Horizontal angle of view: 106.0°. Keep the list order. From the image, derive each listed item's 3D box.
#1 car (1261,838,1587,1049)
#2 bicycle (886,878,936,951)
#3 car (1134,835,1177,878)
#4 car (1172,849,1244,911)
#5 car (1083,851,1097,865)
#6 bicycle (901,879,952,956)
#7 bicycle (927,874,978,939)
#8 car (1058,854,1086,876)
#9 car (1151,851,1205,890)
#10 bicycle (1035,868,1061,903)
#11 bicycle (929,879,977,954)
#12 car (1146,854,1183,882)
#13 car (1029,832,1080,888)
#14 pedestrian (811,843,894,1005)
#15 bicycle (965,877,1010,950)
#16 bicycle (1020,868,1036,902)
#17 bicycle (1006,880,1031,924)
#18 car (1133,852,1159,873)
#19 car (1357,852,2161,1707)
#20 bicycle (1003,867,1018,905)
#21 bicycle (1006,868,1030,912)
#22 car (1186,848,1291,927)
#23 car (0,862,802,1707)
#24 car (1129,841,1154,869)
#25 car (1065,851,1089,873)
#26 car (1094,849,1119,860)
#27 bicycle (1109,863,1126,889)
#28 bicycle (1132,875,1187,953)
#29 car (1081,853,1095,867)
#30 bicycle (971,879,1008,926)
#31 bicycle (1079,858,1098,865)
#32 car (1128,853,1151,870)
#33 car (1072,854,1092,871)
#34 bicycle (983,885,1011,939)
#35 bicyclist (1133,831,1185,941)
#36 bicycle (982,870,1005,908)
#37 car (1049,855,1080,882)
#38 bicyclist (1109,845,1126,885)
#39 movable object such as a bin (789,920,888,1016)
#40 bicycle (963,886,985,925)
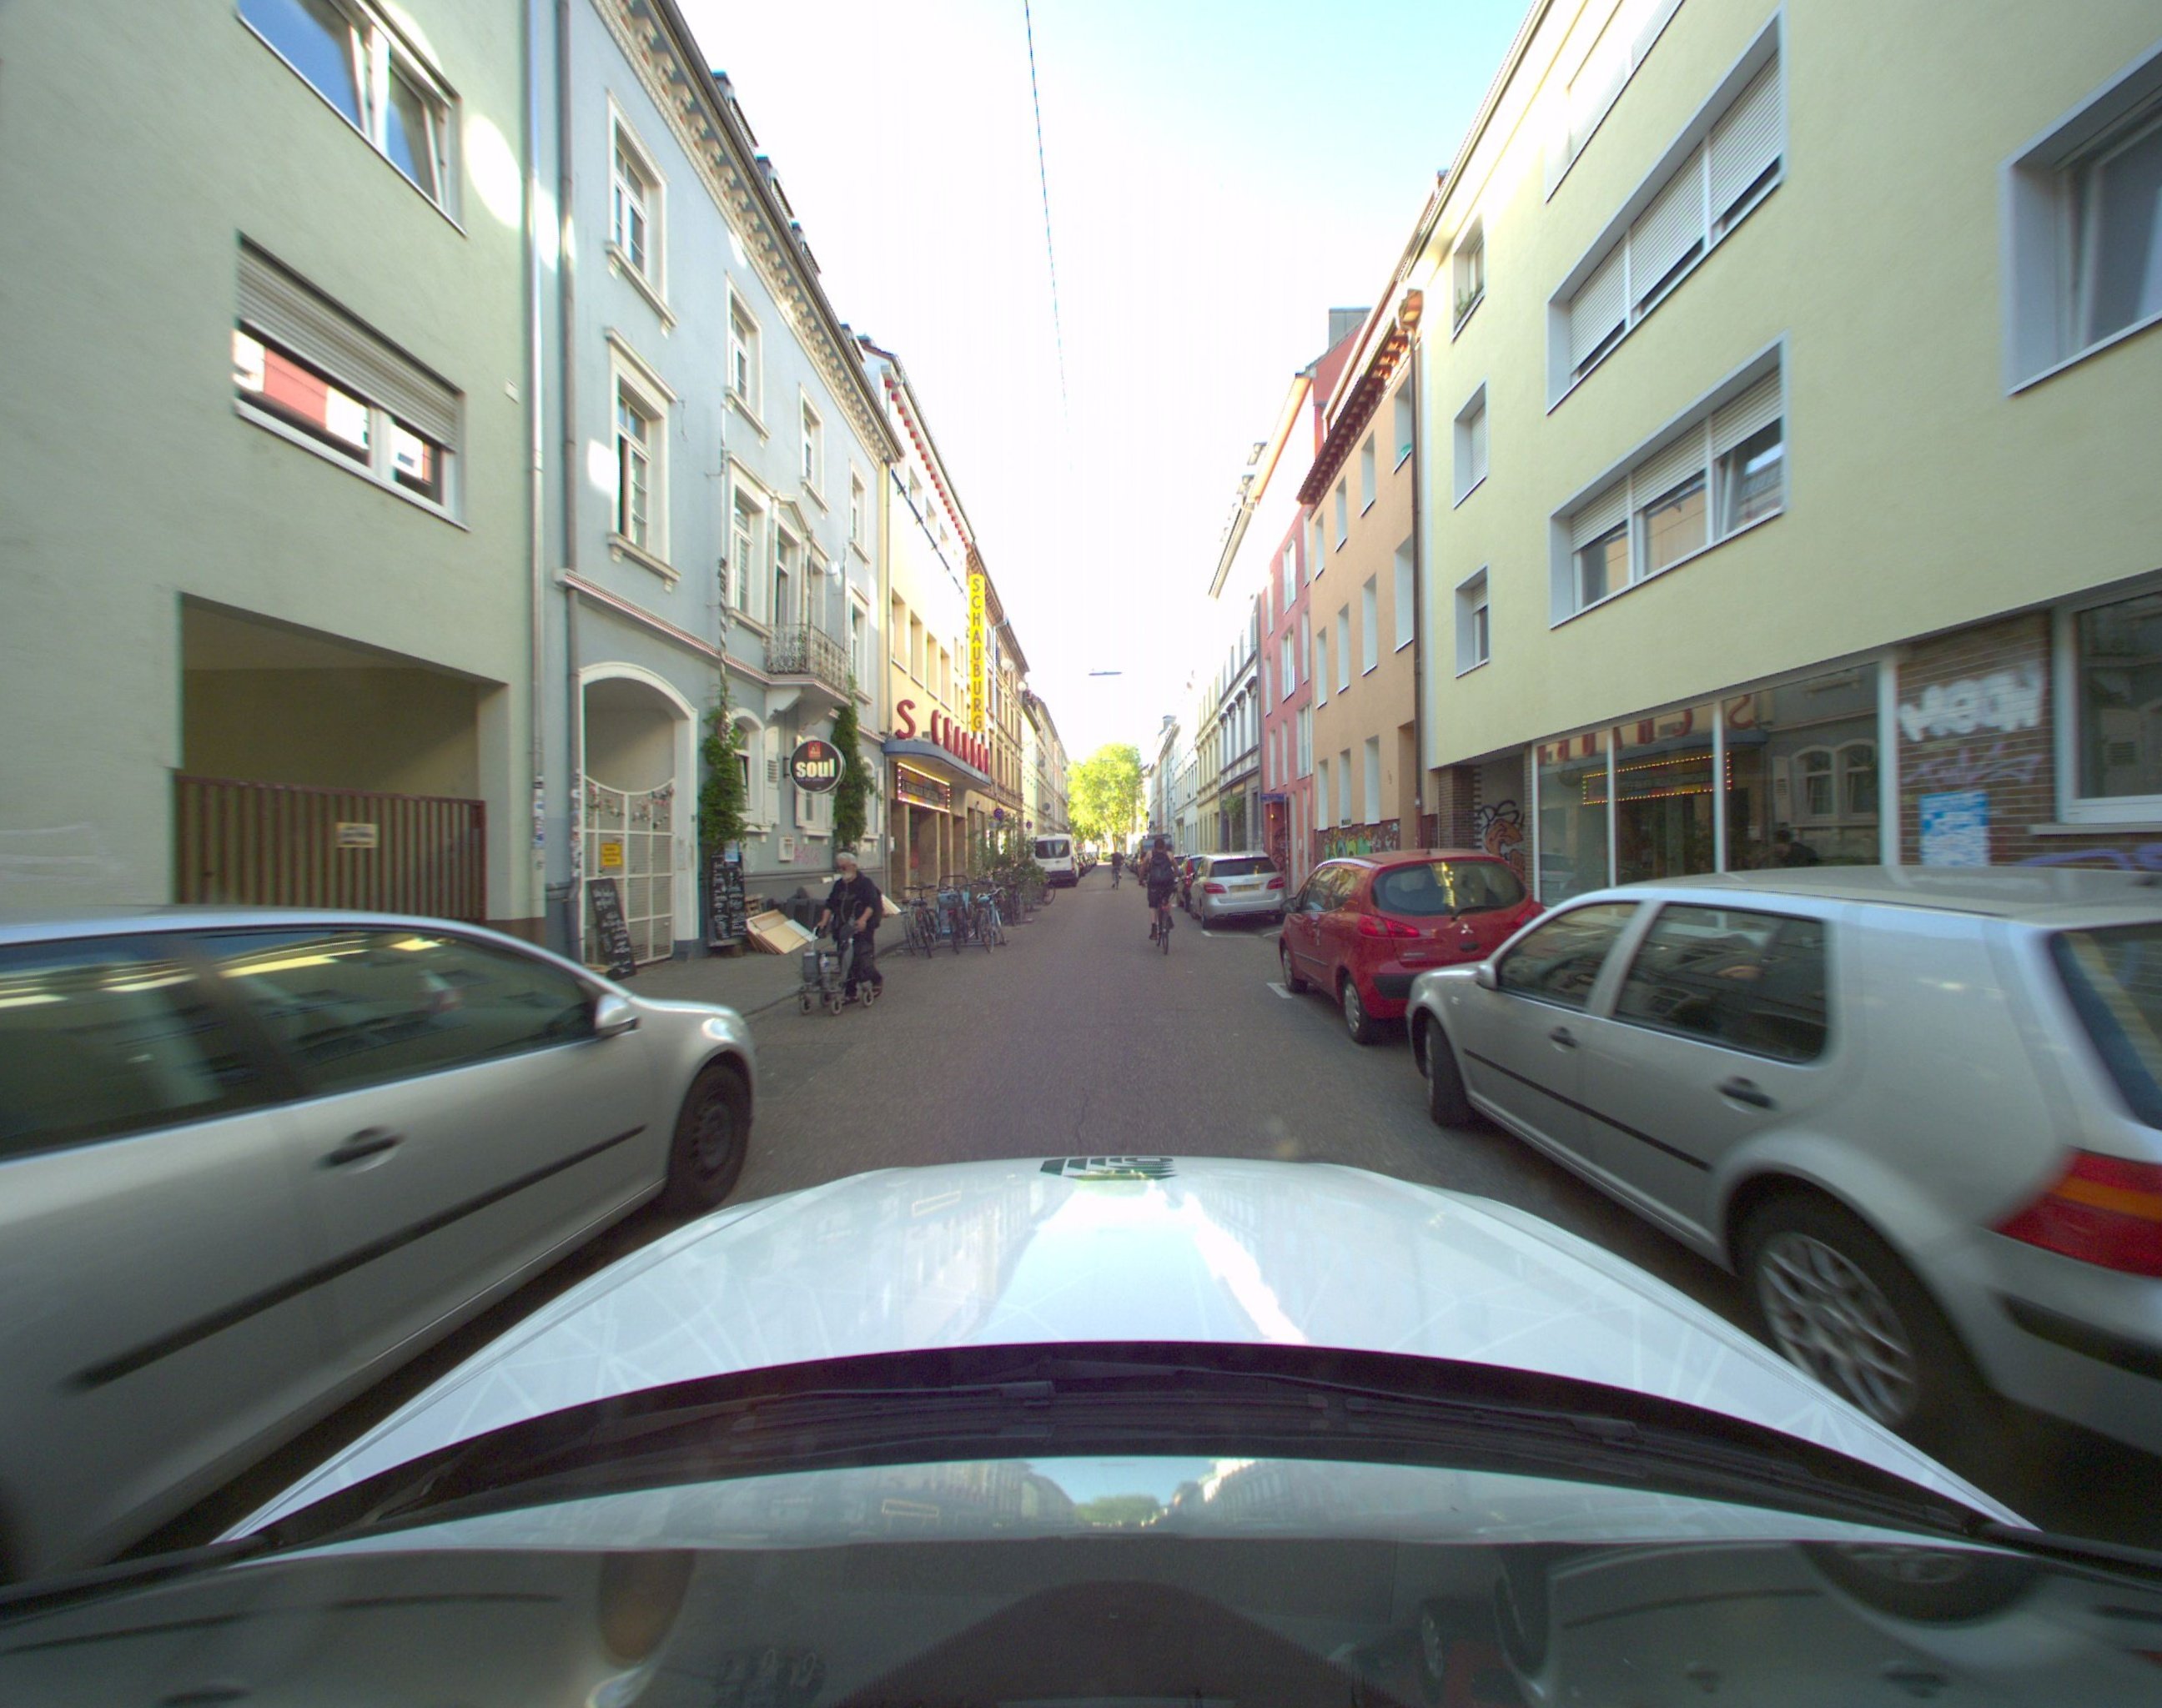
[{"bbox_3d":[3.016,0.671,8.119,1.690,1.523,3.983,-2,0,3],"label":"car"},{"bbox_3d":[-2.873,0.991,13.869,0.441,1.105,1.698,0,0,2],"label":"bicycle"},{"bbox_3d":[4.524,0.134,50.331,2.167,2.425,6.311,-3,0,2],"label":"car"},{"bbox_3d":[3.541,0.694,23.143,1.595,1.539,3.453,-4,0,3],"label":"car"},{"bbox_3d":[1.229,0.515,108.209,1.781,1.737,3.877,-2,0,1],"label":"car"},{"bbox_3d":[-2.497,0.991,13.303,0.442,1.105,1.874,0,0,1],"label":"bicycle"},{"bbox_3d":[-2.427,0.983,15.471,0.810,1.175,0.920,-1,0,-1],"label":"bicycle"},{"bbox_3d":[-0.591,0.741,57.642,1.856,1.440,4.644,-2,1,0],"label":"car"},{"bbox_3d":[4.112,0.683,35.200,1.780,1.454,4.548,-4,0,1],"label":"car"},{"bbox_3d":[-1.060,0.970,25.758,0.461,1.047,1.742,1,0,-14],"label":"bicycle"},{"bbox_3d":[-2.133,1.012,13.735,0.441,1.105,1.932,0,0,2],"label":"bicycle"},{"bbox_3d":[4.482,0.714,44.095,1.741,1.444,4.174,-1,0,2],"label":"car"},{"bbox_3d":[-1.222,0.271,40.302,2.161,2.452,5.922,-2,0,1],"label":"car"},{"bbox_3d":[-2.477,0.736,8.904,0.711,1.708,0.671,0,-1,-2],"label":"pedestrian"},{"bbox_3d":[-1.547,0.965,13.757,0.497,1.105,1.830,0,0,2],"label":"bicycle"},{"bbox_3d":[-1.736,1.009,26.839,0.441,1.047,1.864,0,0,-2],"label":"bicycle"},{"bbox_3d":[-1.414,1.085,18.600,0.388,0.916,1.394,-1,0,3],"label":"bicycle"},{"bbox_3d":[4.876,0.650,61.651,1.739,1.485,4.244,-2,0,2],"label":"car"},{"bbox_3d":[2.725,0.753,3.463,1.682,1.453,4.194,-2,0,1],"label":"car"},{"bbox_3d":[-2.322,1.040,26.823,0.398,1.174,1.668,0,0,-2],"label":"bicycle"},{"bbox_3d":[-1.700,0.957,22.239,0.544,1.094,1.880,0,0,-2],"label":"bicycle"},{"bbox_3d":[3.405,0.664,18.327,1.739,1.556,4.174,-1,0,3],"label":"car"},{"bbox_3d":[-2.558,0.815,2.451,1.672,1.454,4.040,-2,0,5],"label":"car"},{"bbox_3d":[5.731,0.085,76.922,2.194,2.551,6.042,-2,0,4],"label":"car"},{"bbox_3d":[-0.287,0.623,68.664,1.794,1.698,4.002,-3,0,2],"label":"car"},{"bbox_3d":[4.637,0.071,147.581,4.458,1.759,1.864,-2,0,-3],"label":"car"},{"bbox_3d":[1.555,0.909,34.757,0.661,1.037,1.959,-2,0,2],"label":"bicycle"},{"bbox_3d":[1.224,0.910,13.055,0.737,1.100,2.043,0,0,2],"label":"bicycle"},{"bbox_3d":[0.796,0.668,96.008,1.540,1.550,3.463,-2,0,-1],"label":"car"},{"bbox_3d":[-2.032,1.075,18.264,0.551,0.944,1.572,-1,0,3],"label":"bicycle"},{"bbox_3d":[1.145,1.123,117.701,2.707,0.892,0.618,-2,0,-1],"label":"bicycle"},{"bbox_3d":[5.108,0.641,71.624,1.719,1.429,3.832,-2,0,1],"label":"car"},{"bbox_3d":[0.082,0.776,73.637,1.585,1.440,3.656,-2,0,3],"label":"car"},{"bbox_3d":[-1.567,1.067,15.356,0.320,0.916,1.291,-1,0,3],"label":"bicycle"},{"bbox_3d":[1.230,0.485,12.980,0.737,1.679,1.117,0,0,1],"label":"bicyclist"},{"bbox_3d":[-2.533,0.990,23.604,0.572,1.045,1.408,0,0,-2],"label":"bicycle"},{"bbox_3d":[-0.912,0.781,46.352,1.640,1.447,3.839,-2,0,0],"label":"car"},{"bbox_3d":[1.547,0.469,34.606,0.667,1.658,0.877,-2,0,2],"label":"bicyclist"},{"bbox_3d":[-2.461,1.146,8.331,0.842,0.897,0.585,0,-1,-2],"label":"movable object such as a bin"},{"bbox_3d":[-2.468,1.182,18.826,0.255,0.817,1.300,0,0,3],"label":"bicycle"}]
